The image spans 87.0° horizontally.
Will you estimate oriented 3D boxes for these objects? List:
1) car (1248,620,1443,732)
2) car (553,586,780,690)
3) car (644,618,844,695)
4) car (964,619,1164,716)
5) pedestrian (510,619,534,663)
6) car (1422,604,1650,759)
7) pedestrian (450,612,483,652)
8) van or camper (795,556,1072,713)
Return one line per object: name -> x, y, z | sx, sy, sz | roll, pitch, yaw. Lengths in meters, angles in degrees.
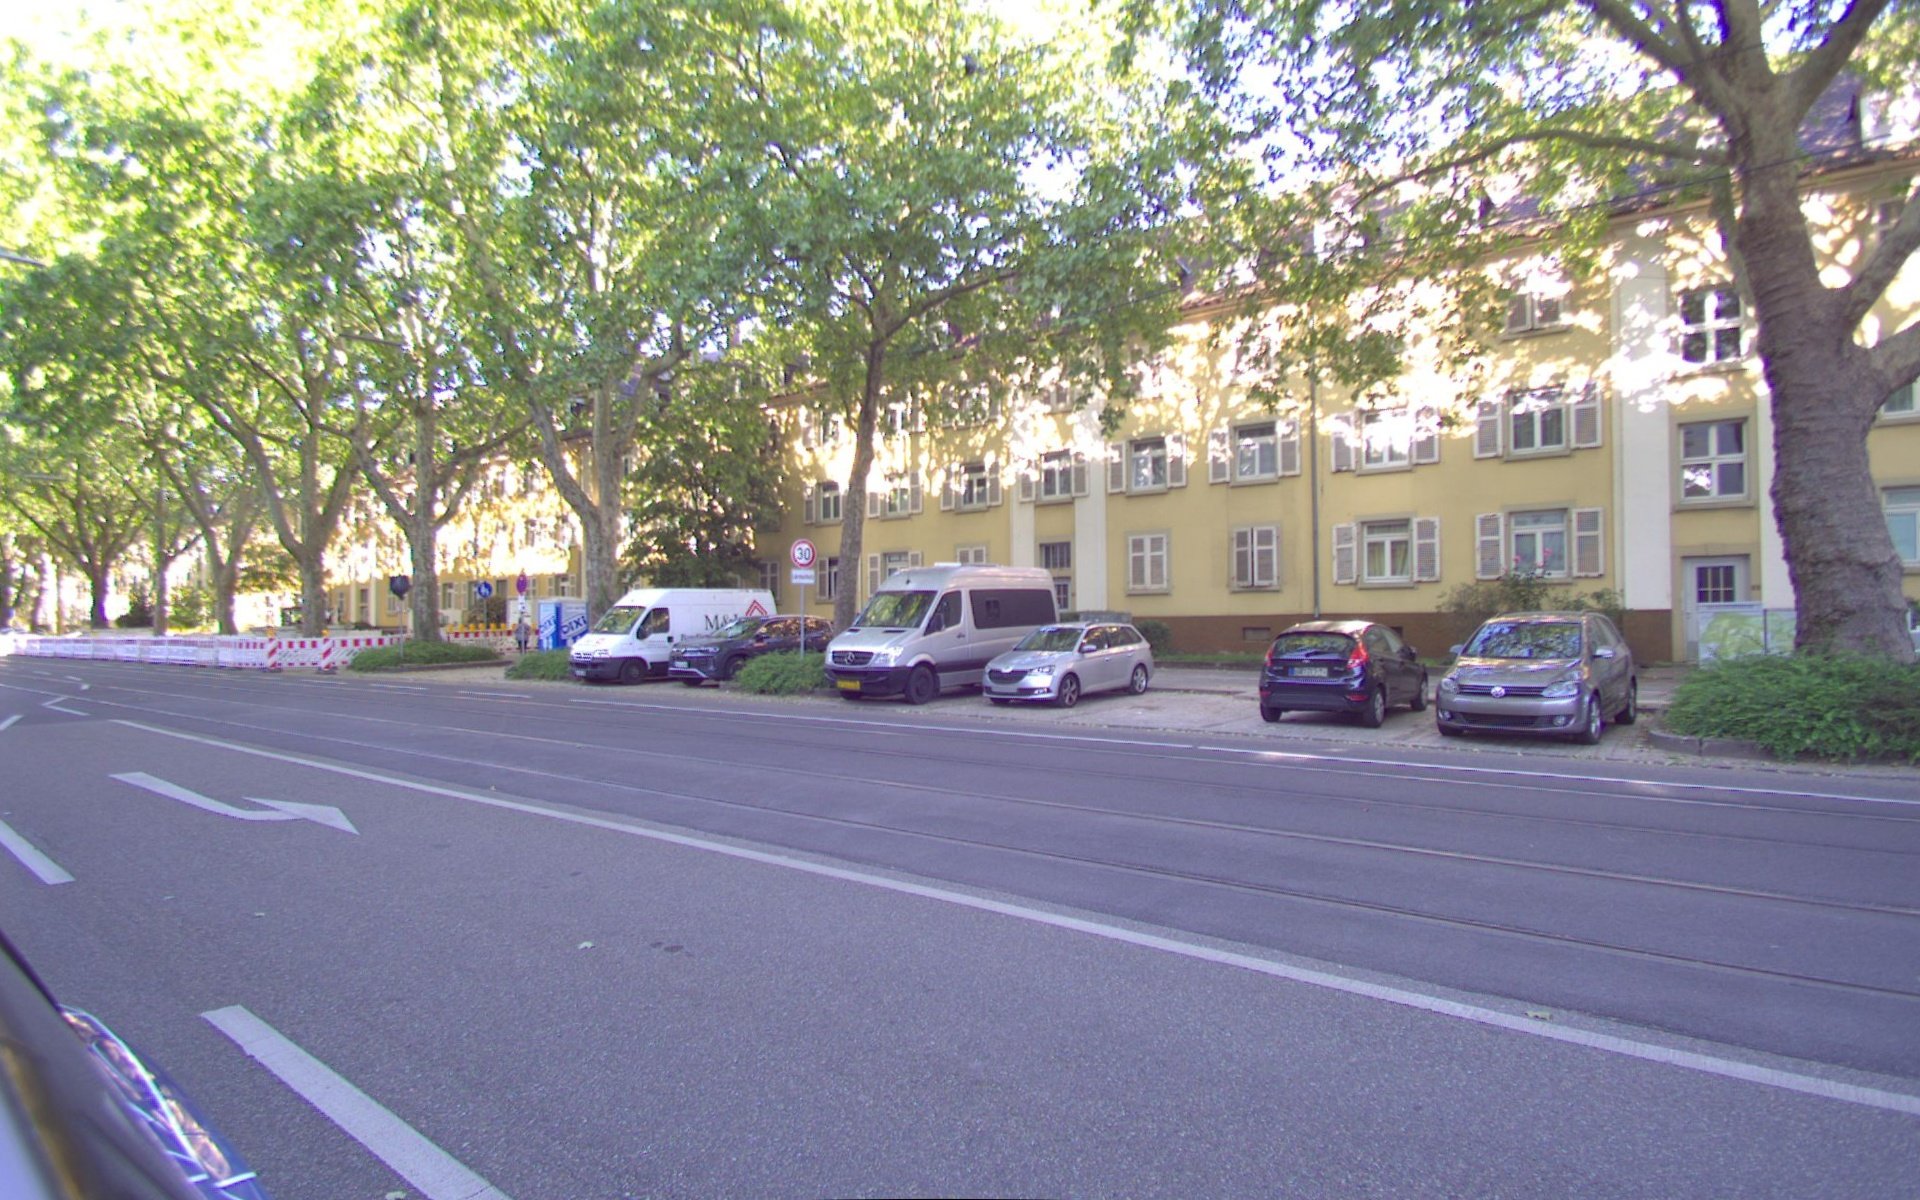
car -> 5.910, 1.049, 15.325 | 1.740, 1.440, 3.528 | -2, -1, 39
car -> -7.440, 0.949, 26.283 | 2.023, 2.394, 5.543 | -2, -2, 38
car -> -5.086, 1.275, 24.364 | 1.967, 1.643, 4.520 | -2, -2, 38
car -> 2.041, 1.159, 18.902 | 1.729, 1.481, 4.102 | 0, 1, 40
pedestrian -> -15.994, 1.493, 36.948 | 0.587, 1.585, 0.718 | 1, -2, -42
car -> 7.741, 0.928, 13.411 | 1.814, 1.617, 4.145 | -2, 0, 41
pedestrian -> -25.600, 1.671, 52.505 | 1.233, 2.029, 1.085 | -2, -2, 36
van or camper -> -0.312, 0.613, 20.487 | 2.227, 2.697, 6.052 | -2, -1, 38
